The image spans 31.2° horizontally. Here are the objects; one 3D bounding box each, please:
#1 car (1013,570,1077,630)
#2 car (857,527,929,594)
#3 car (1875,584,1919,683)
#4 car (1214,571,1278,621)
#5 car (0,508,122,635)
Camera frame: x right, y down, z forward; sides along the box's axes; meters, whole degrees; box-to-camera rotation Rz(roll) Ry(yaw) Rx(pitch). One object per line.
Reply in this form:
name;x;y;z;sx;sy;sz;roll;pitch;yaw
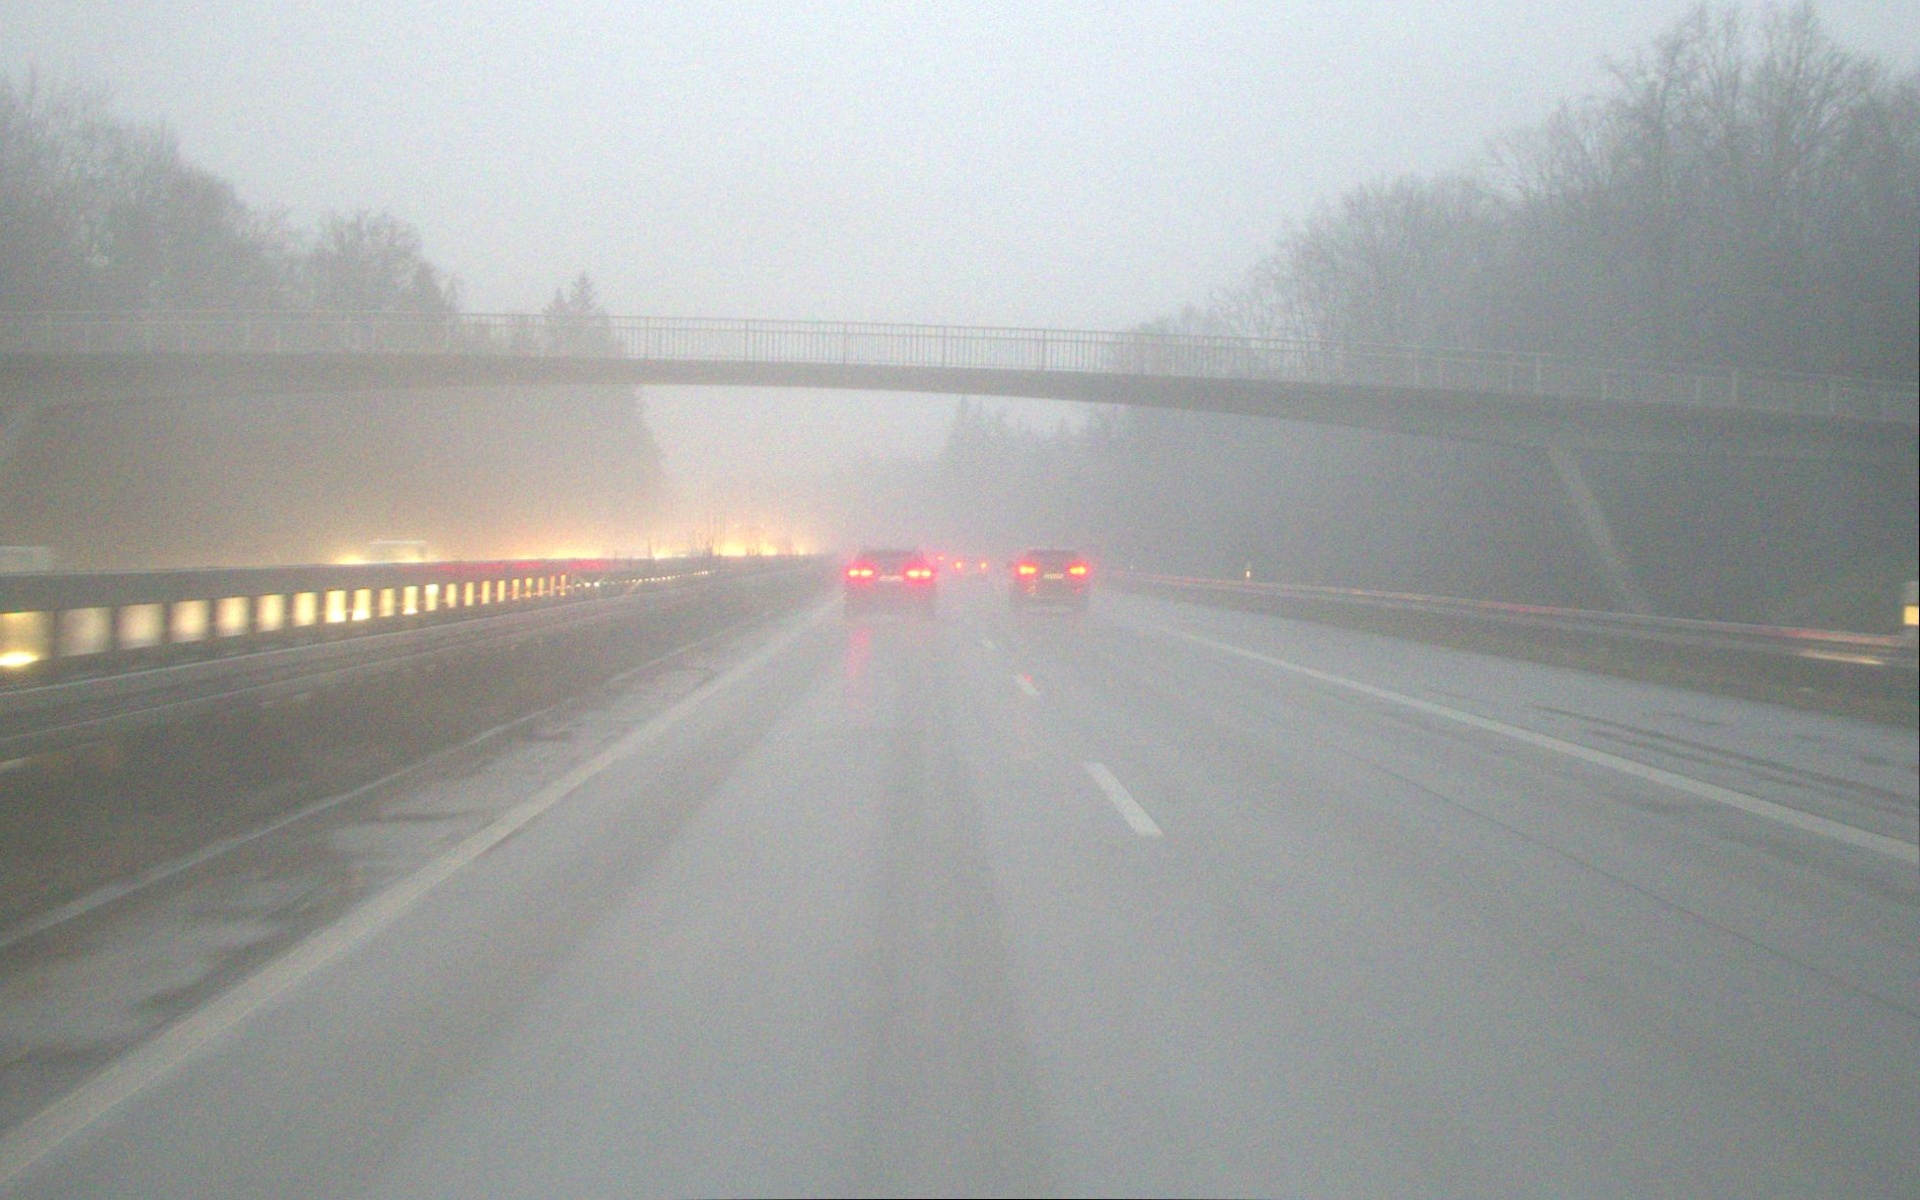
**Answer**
car;2.126;-0.018;86.428;1.454;1.424;3.490;1;1;-1
car;-1.374;-0.815;71.318;1.454;1.339;3.490;1;1;-1
car;13.956;0.479;47.845;1.454;1.339;3.490;1;1;-1
car;8.137;-0.127;98.078;1.454;1.339;3.490;1;1;-1
car;-13.237;-0.441;48.403;1.884;1.678;4.000;2;1;-1
